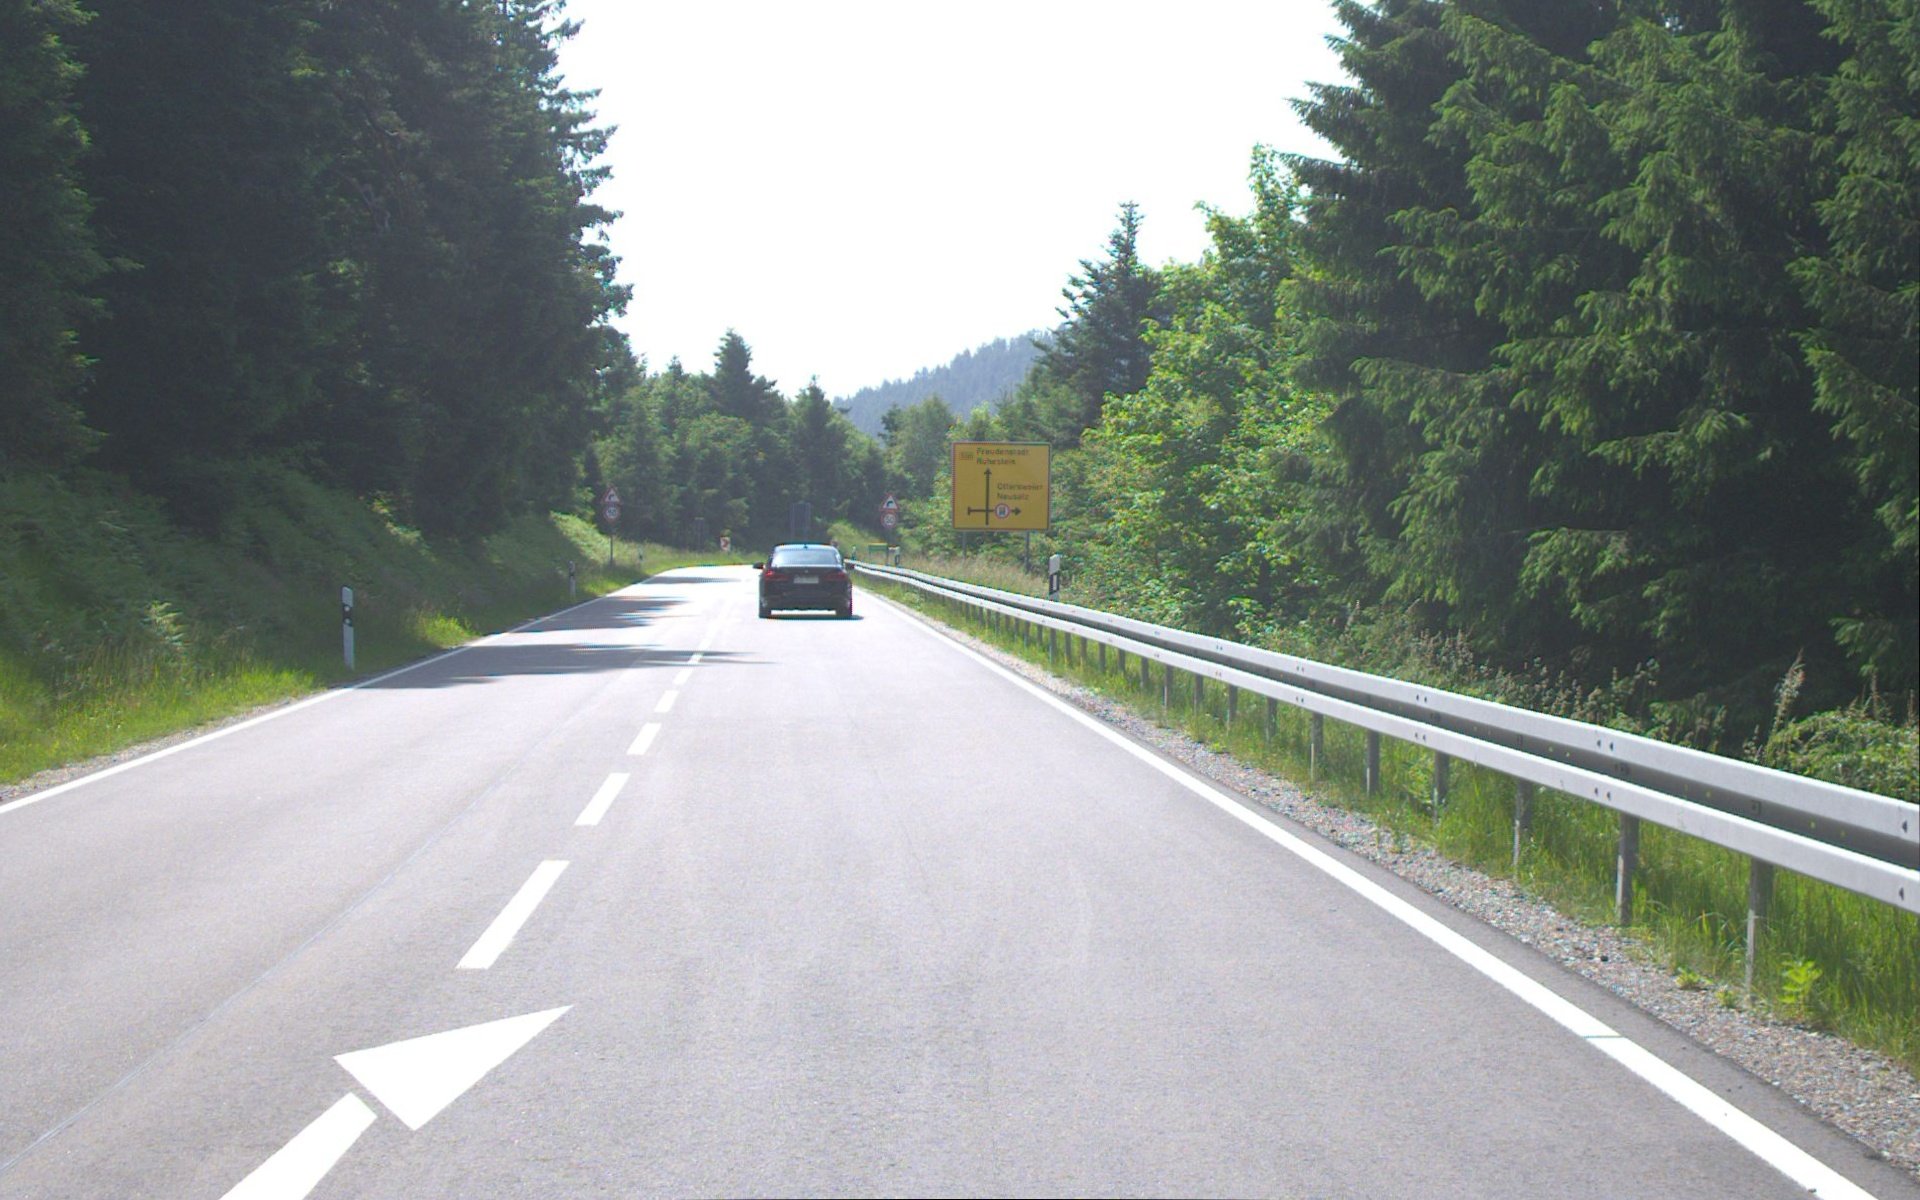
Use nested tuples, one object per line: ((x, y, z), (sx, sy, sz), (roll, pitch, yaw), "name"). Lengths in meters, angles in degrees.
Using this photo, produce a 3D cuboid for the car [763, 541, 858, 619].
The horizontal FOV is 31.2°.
((-2.936, -0.411, 67.101), (1.776, 1.437, 3.709), (-1, 1, -3), "car")
